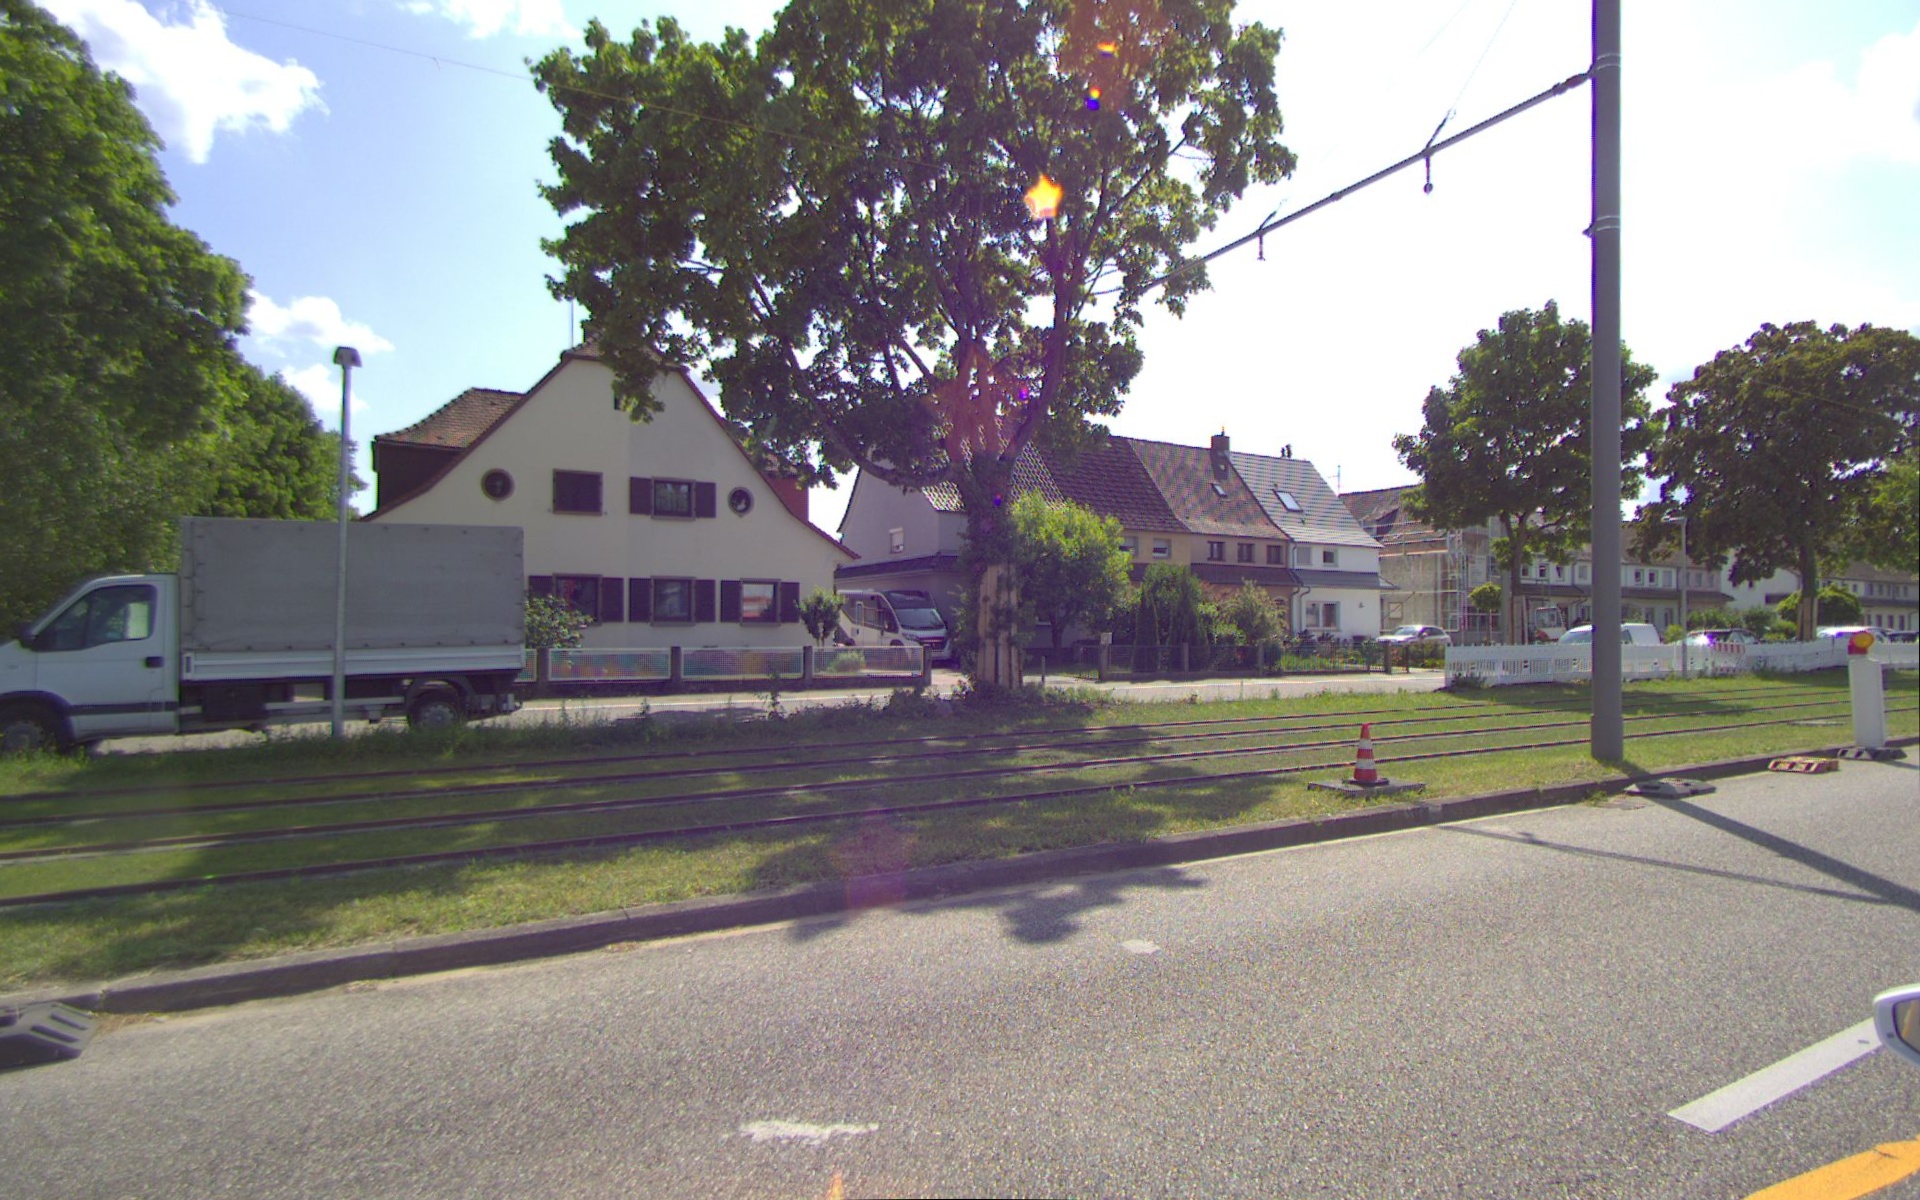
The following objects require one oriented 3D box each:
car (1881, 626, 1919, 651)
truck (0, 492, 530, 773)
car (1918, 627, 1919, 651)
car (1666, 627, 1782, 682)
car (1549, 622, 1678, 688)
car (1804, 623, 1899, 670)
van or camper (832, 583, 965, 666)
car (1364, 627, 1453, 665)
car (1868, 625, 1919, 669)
[{"bbox_3d":[66.748,2.688,70.728,4.013,1.762,1.691,1,-2,-30],"label":"car"},{"bbox_3d":[-8.802,0.412,12.931,5.805,3.027,1.994,1,-2,-30],"label":"truck"},{"bbox_3d":[72.131,2.852,73.664,4.013,1.762,1.691,1,-2,-30],"label":"car"},{"bbox_3d":[25.742,1.801,33.824,4.006,1.762,1.691,1,-2,-30],"label":"car"},{"bbox_3d":[19.497,1.605,29.957,3.814,1.841,1.691,1,-2,-30],"label":"car"},{"bbox_3d":[34.971,1.804,39.391,3.814,1.762,1.691,1,-2,-30],"label":"car"},{"bbox_3d":[-2.355,0.906,36.648,2.224,2.745,5.963,1,-2,-33],"label":"van or camper"},{"bbox_3d":[19.885,1.994,44.476,3.814,1.614,1.691,1,-2,-30],"label":"car"},{"bbox_3d":[40.385,1.963,42.597,3.814,1.762,1.691,1,-2,-30],"label":"car"}]
